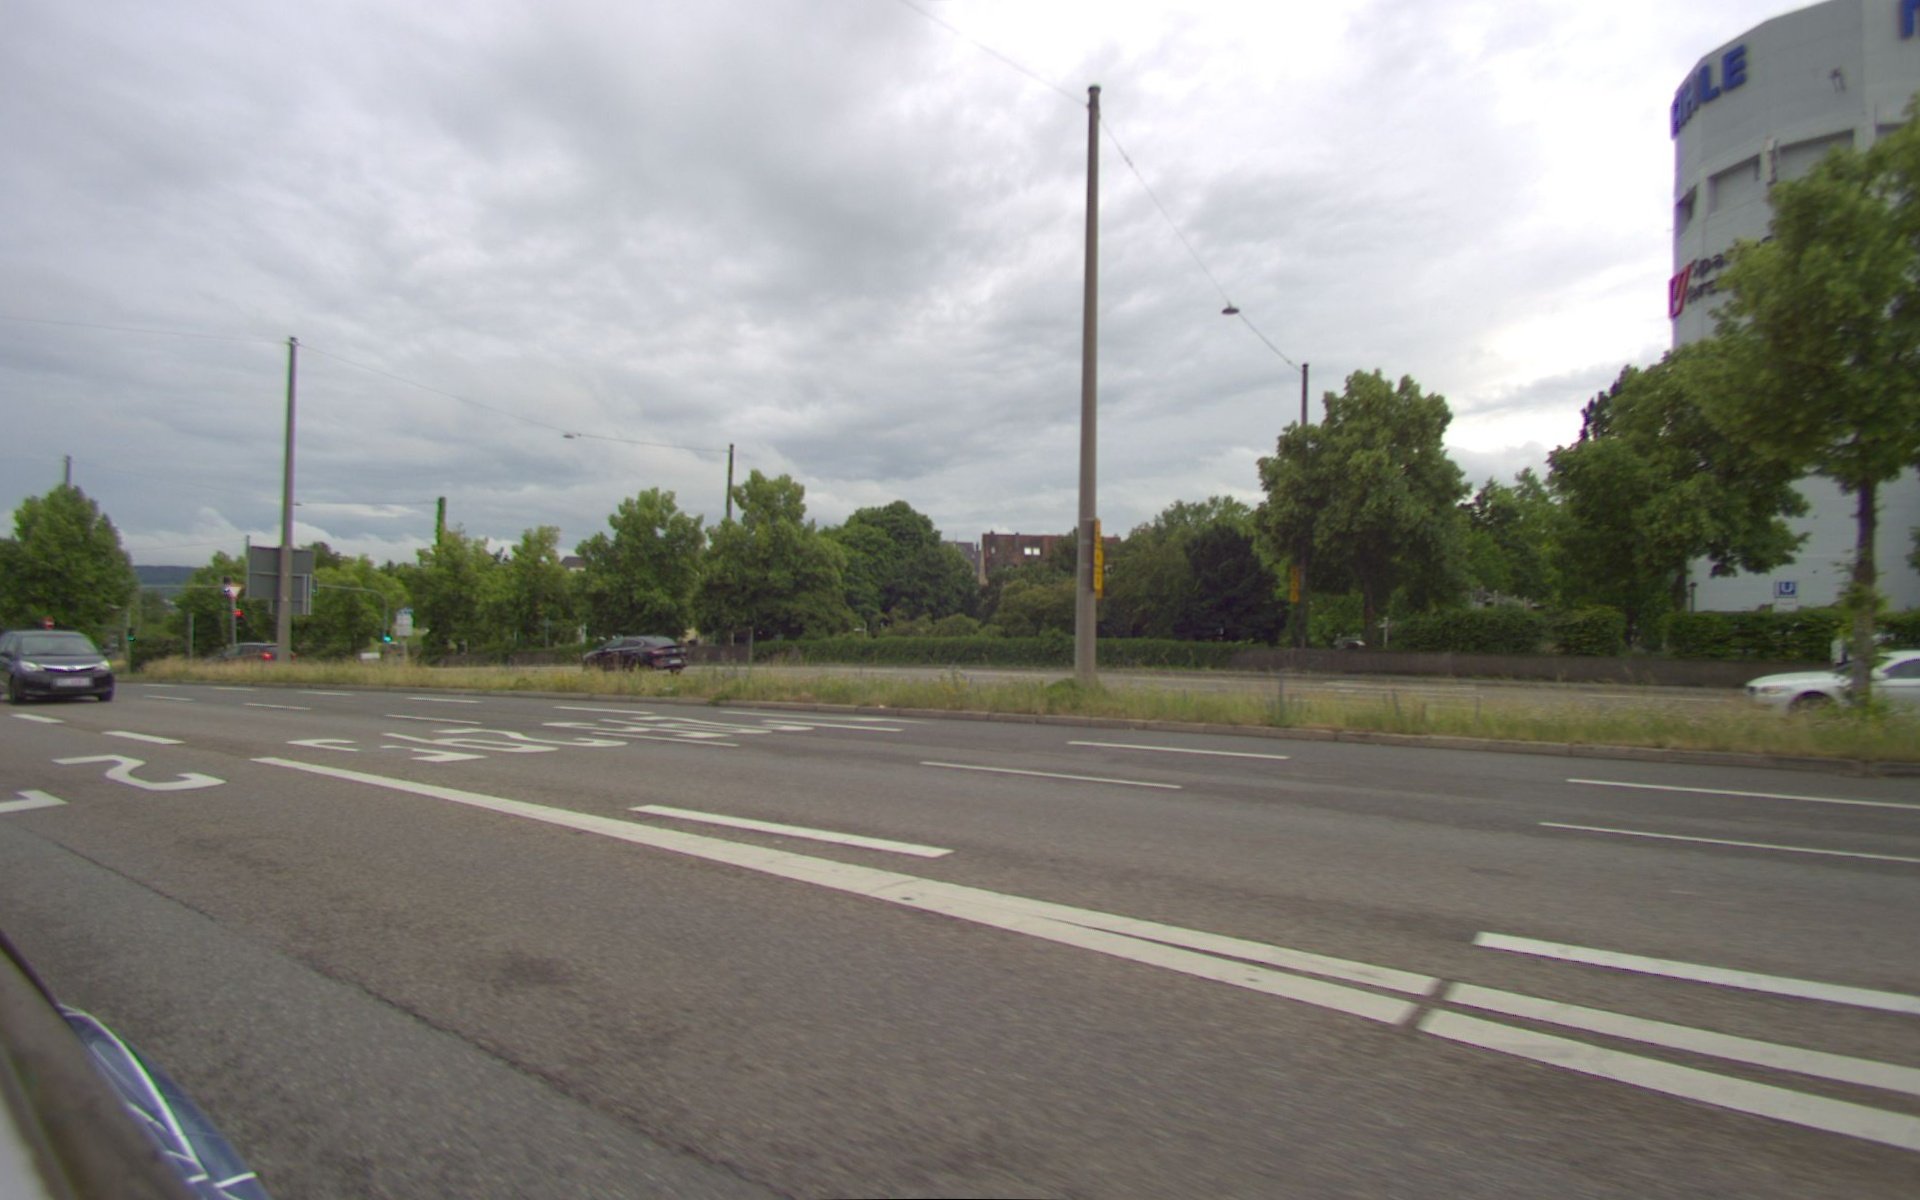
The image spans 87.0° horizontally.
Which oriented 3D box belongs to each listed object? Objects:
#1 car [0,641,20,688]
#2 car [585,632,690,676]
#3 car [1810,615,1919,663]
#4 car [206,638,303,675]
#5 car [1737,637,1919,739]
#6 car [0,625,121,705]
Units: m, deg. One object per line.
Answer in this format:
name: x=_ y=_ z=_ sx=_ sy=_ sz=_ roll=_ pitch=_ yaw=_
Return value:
car: x=-40.466 y=2.722 z=41.562 sx=3.991 sy=1.875 sz=1.976 roll=-4 pitch=-3 yaw=35
car: x=-11.435 y=1.910 z=35.830 sx=3.665 sy=1.371 sz=1.582 roll=-4 pitch=-1 yaw=33
car: x=44.265 y=1.798 z=46.972 sx=6.968 sy=2.147 sz=2.368 roll=0 pitch=0 yaw=29
car: x=-30.273 y=2.444 z=43.398 sx=3.983 sy=1.519 sz=1.876 roll=-3 pitch=-4 yaw=30
car: x=17.942 y=1.614 z=19.096 sx=4.843 sy=1.784 sz=1.983 roll=-1 pitch=-1 yaw=26
car: x=-20.378 y=1.402 z=22.573 sx=4.038 sy=1.577 sz=1.778 roll=-2 pitch=-1 yaw=39
